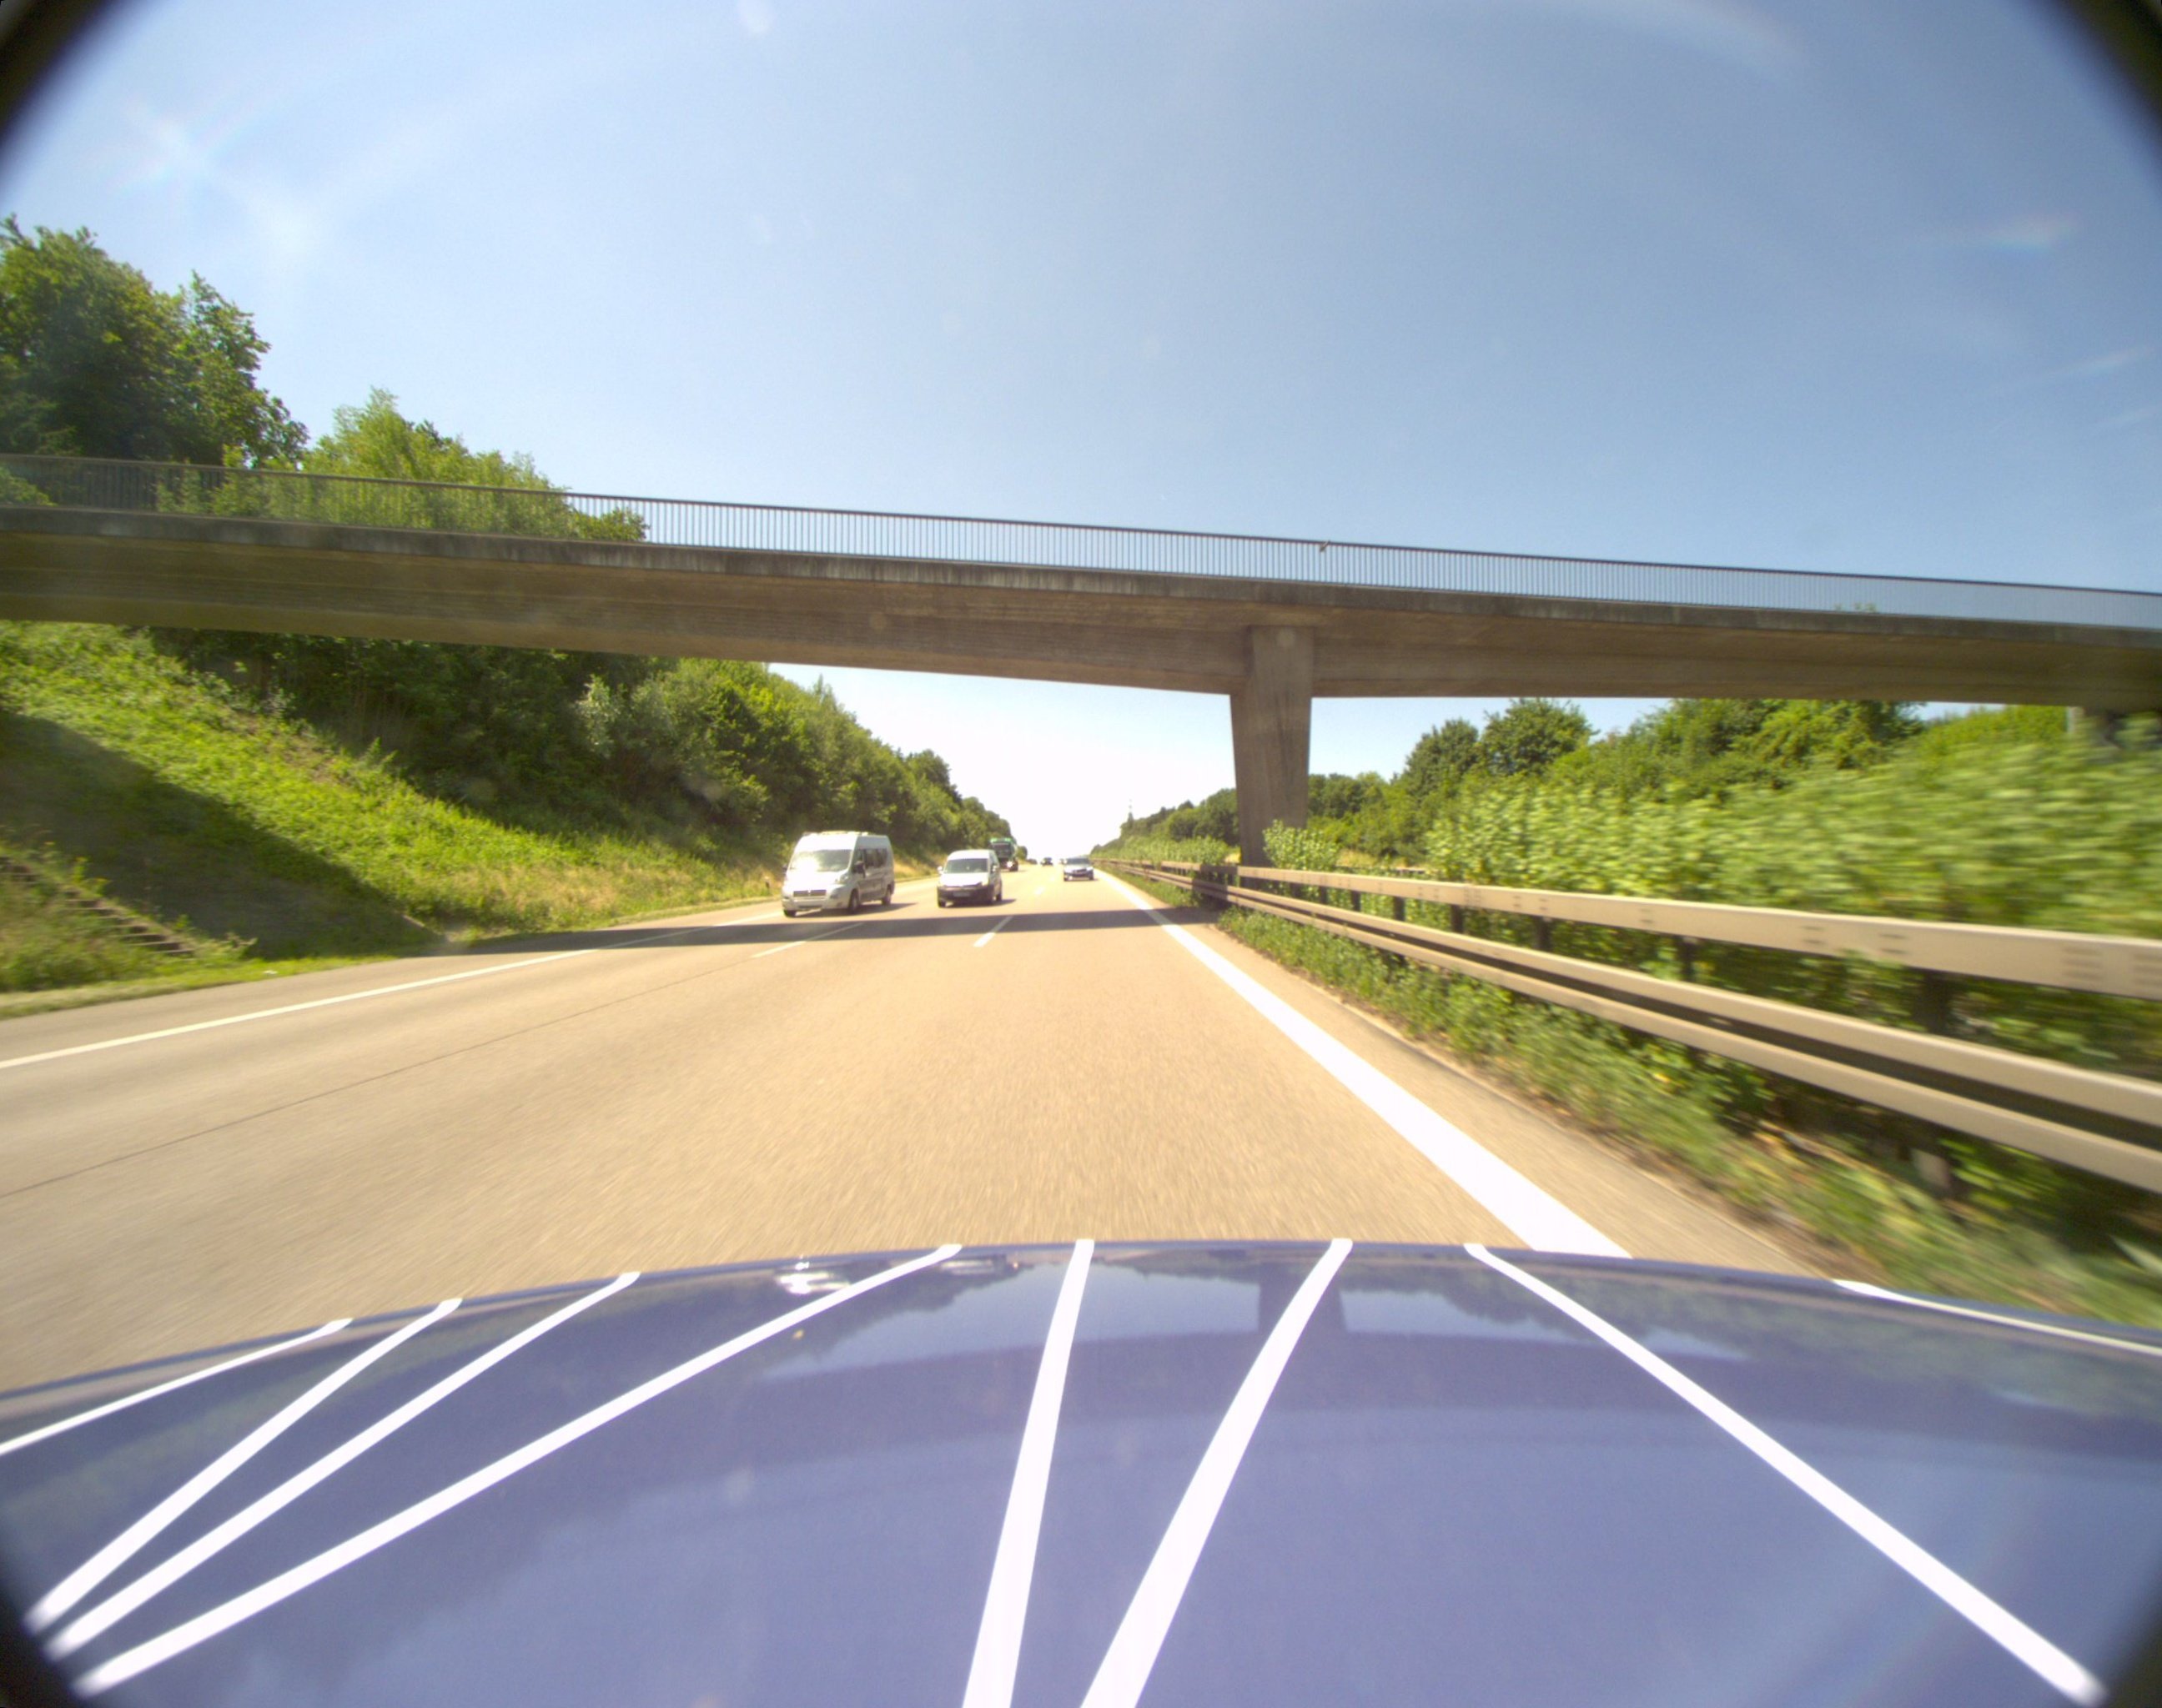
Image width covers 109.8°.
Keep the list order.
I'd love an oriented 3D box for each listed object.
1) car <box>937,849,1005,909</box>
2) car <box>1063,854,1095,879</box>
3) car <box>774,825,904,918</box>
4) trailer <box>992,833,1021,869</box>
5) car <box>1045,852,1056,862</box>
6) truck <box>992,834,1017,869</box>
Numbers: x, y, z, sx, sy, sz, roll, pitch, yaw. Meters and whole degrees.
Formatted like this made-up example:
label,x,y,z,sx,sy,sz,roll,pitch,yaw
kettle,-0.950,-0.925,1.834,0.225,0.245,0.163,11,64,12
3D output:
label,x,y,z,sx,sy,sz,roll,pitch,yaw
car,-3.667,0.777,26.143,1.750,1.819,4.800,-2,0,-2
car,-0.086,0.776,46.241,1.768,1.400,4.000,-2,-1,1
car,-7.589,0.542,24.742,2.095,2.560,6.622,-2,-1,0
trailer,-8.828,-0.258,90.907,2.594,4.003,10.469,-2,-1,-2
car,-5.427,0.575,133.184,1.788,1.550,3.942,-2,-1,-4
truck,-8.600,-0.232,85.739,2.517,3.819,4.891,-2,-1,-3
